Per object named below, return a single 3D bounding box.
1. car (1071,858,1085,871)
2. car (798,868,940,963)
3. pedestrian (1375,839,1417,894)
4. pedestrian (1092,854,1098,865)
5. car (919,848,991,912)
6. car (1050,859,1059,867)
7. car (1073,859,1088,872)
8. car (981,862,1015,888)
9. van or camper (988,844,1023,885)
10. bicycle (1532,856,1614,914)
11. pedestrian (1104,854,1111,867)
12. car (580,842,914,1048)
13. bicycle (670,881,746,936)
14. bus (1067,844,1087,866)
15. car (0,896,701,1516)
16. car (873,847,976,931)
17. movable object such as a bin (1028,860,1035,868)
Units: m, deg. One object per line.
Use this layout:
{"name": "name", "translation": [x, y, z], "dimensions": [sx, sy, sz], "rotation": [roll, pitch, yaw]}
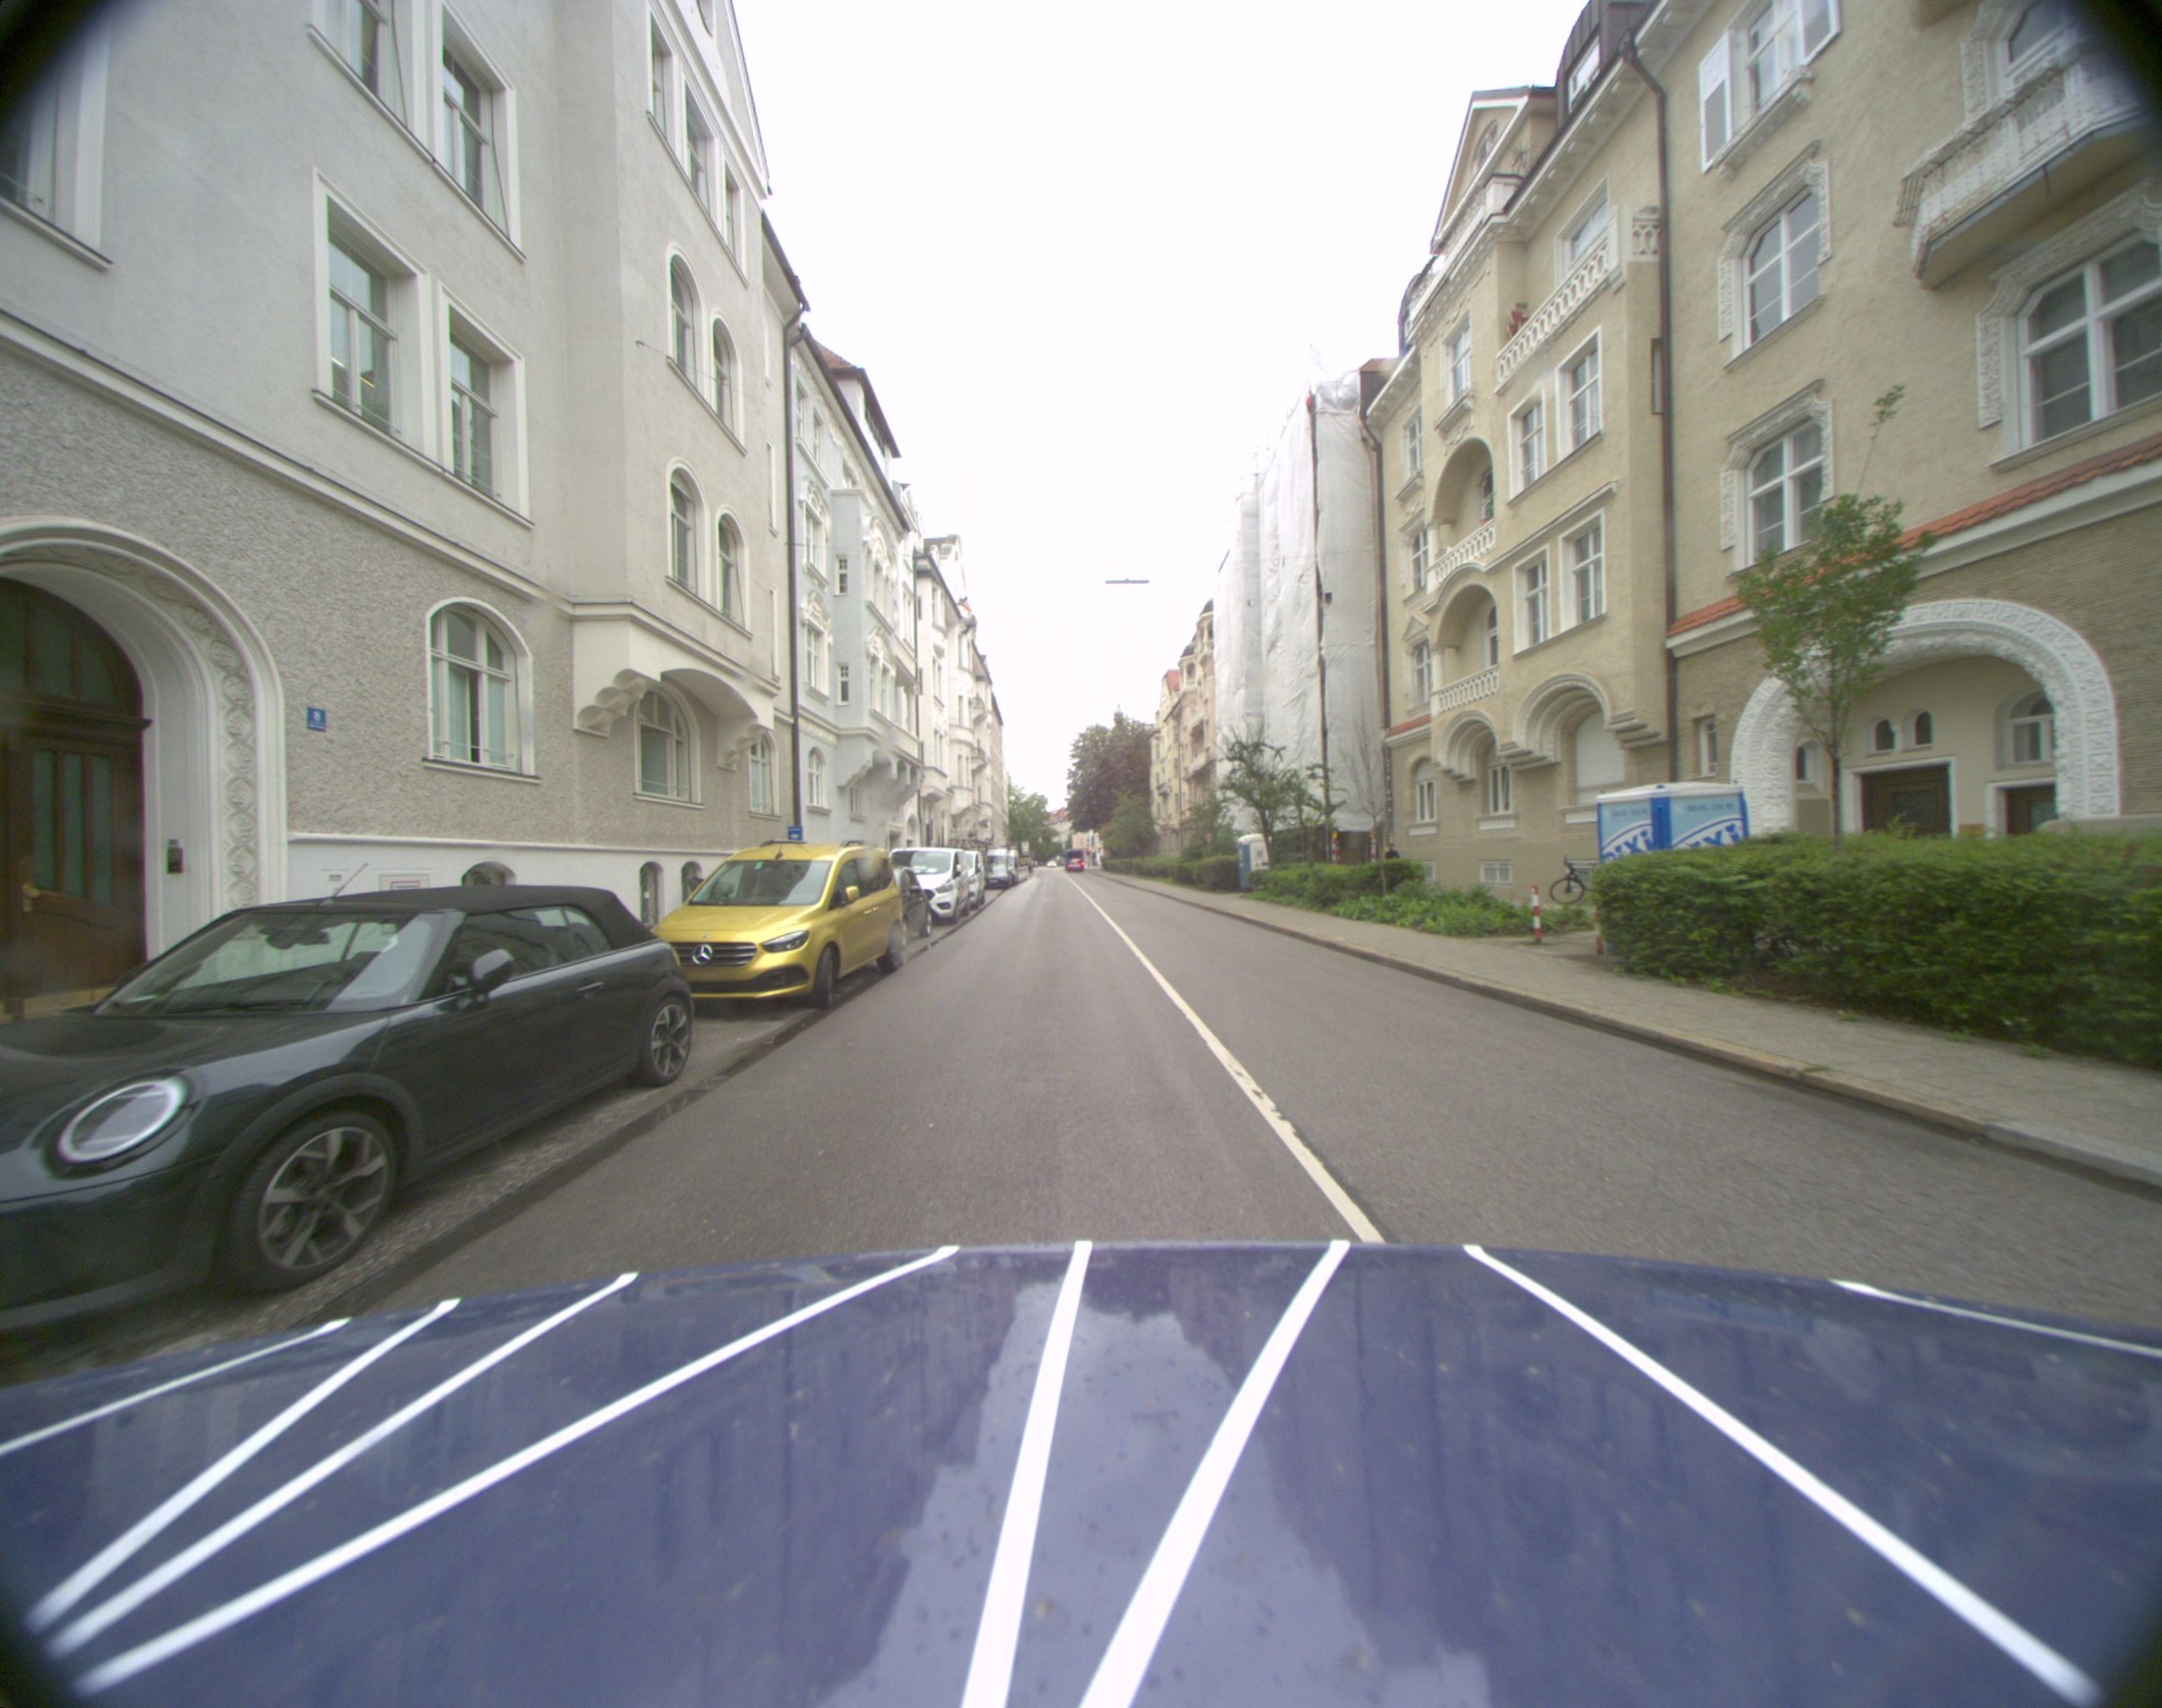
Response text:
{"name": "car", "translation": [-0.437, 1.280, 94.122], "dimensions": [1.588, 1.470, 3.781], "rotation": [-1, 0, -2]}
{"name": "car", "translation": [-3.857, 1.045, 14.457], "dimensions": [1.636, 1.475, 3.783], "rotation": [-1, 0, 0]}
{"name": "pedestrian", "translation": [10.135, 0.401, 24.512], "dimensions": [0.916, 1.741, 0.948], "rotation": [-1, 0, -2]}
{"name": "pedestrian", "translation": [2.528, 1.045, 136.806], "dimensions": [0.952, 2.002, 1.397], "rotation": [-1, 0, 8]}
{"name": "car", "translation": [-4.314, 0.831, 26.726], "dimensions": [1.965, 2.002, 4.991], "rotation": [-1, 0, -3]}
{"name": "car", "translation": [-6.088, 2.043, 172.282], "dimensions": [1.927, 1.608, 3.999], "rotation": [-2, 0, -3]}
{"name": "car", "translation": [-0.046, 1.542, 100.646], "dimensions": [1.773, 1.635, 4.273], "rotation": [-1, 0, -2]}
{"name": "car", "translation": [-4.877, 1.194, 45.253], "dimensions": [1.758, 1.426, 4.086], "rotation": [-1, 0, -3]}
{"name": "van or camper", "translation": [-5.045, 0.673, 51.381], "dimensions": [1.959, 2.621, 5.457], "rotation": [-1, 0, -2]}
{"name": "bicycle", "translation": [11.346, 0.686, 17.587], "dimensions": [0.747, 1.268, 1.703], "rotation": [-2, 0, -1]}
{"name": "pedestrian", "translation": [3.616, 0.871, 104.492], "dimensions": [0.910, 1.735, 0.847], "rotation": [-1, 0, -3]}
{"name": "car", "translation": [-3.583, 0.851, 9.358], "dimensions": [1.855, 1.842, 4.821], "rotation": [-1, 0, 1]}
{"name": "bicycle", "translation": [-8.198, 1.169, 16.790], "dimensions": [0.696, 1.087, 2.036], "rotation": [1, 0, -1]}
{"name": "bus", "translation": [-0.658, 0.197, 110.853], "dimensions": [2.586, 3.082, 8.921], "rotation": [-1, 0, -1]}
{"name": "car", "translation": [-3.718, 1.052, 3.808], "dimensions": [1.668, 1.448, 3.896], "rotation": [-1, 0, -1]}
{"name": "car", "translation": [-4.029, 0.839, 20.411], "dimensions": [1.965, 1.926, 4.991], "rotation": [-1, 0, -3]}
{"name": "movable object such as a bin", "translation": [-7.372, 1.454, 112.736], "dimensions": [0.877, 1.243, 0.798], "rotation": [-1, 0, -7]}
